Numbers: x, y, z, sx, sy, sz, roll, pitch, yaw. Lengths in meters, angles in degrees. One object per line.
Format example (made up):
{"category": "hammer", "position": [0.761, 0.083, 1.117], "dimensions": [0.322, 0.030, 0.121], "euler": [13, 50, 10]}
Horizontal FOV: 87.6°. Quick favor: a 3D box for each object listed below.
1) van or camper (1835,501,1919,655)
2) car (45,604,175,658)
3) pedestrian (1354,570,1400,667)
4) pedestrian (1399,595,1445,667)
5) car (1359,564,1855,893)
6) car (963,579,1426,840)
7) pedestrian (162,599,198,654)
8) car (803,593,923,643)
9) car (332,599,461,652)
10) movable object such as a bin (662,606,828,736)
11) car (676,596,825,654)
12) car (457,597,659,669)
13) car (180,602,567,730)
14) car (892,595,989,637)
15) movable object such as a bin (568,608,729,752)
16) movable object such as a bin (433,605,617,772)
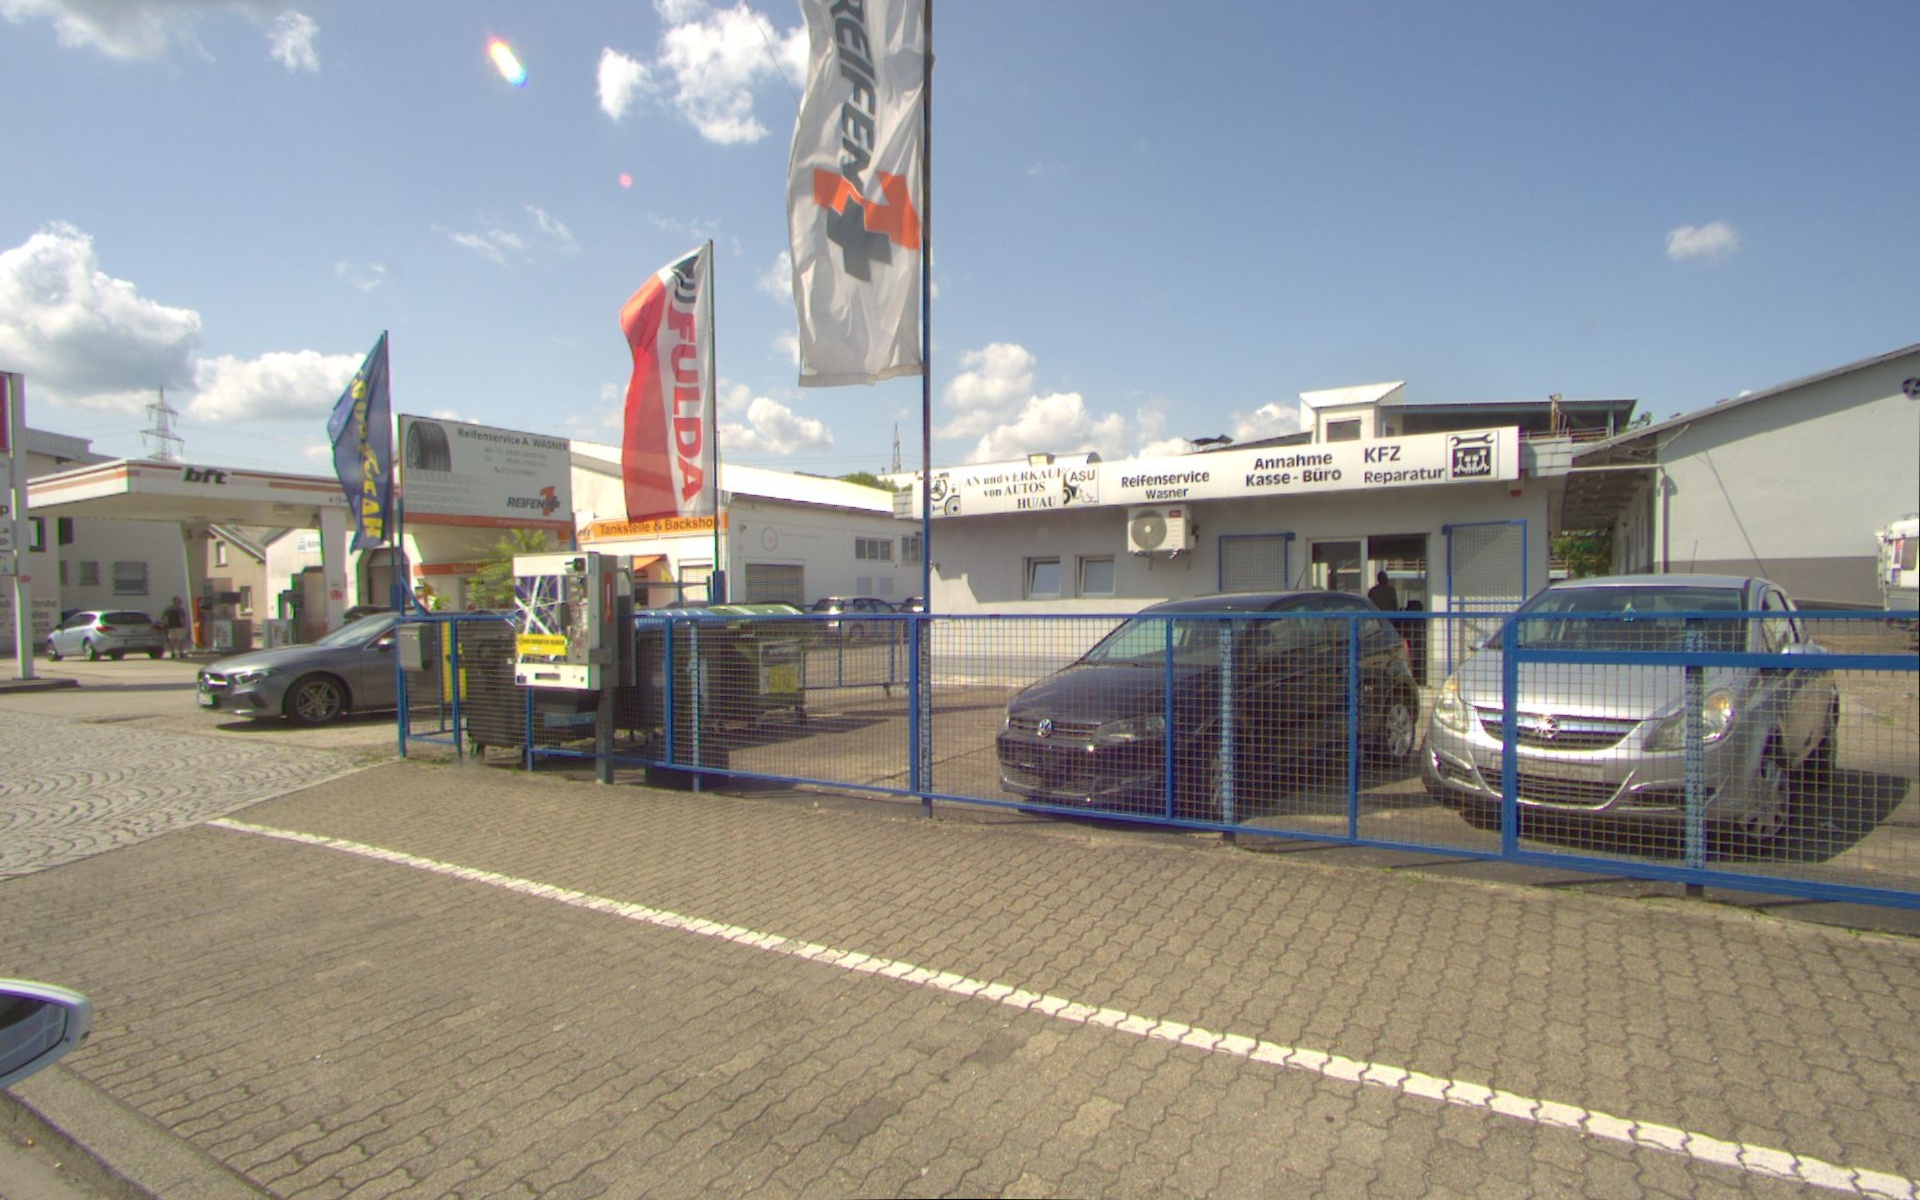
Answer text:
{"category": "van or camper", "position": [21.014, -0.451, 19.536], "dimensions": [5.571, 3.005, 2.264], "euler": [0, 1, 31]}
{"category": "car", "position": [-25.738, 0.898, 30.311], "dimensions": [3.776, 1.523, 1.803], "euler": [0, 0, 30]}
{"category": "pedestrian", "position": [7.351, 0.321, 17.653], "dimensions": [0.654, 1.671, 0.563], "euler": [0, 1, 34]}
{"category": "pedestrian", "position": [8.046, 0.535, 17.446], "dimensions": [0.654, 1.225, 0.563], "euler": [0, 1, 34]}
{"category": "car", "position": [4.272, 0.565, 6.387], "dimensions": [3.729, 1.472, 1.757], "euler": [-1, 0, -42]}
{"category": "car", "position": [1.904, 0.605, 7.483], "dimensions": [3.655, 1.472, 1.625], "euler": [-1, 1, -43]}
{"category": "pedestrian", "position": [-23.778, 0.798, 30.521], "dimensions": [0.698, 1.679, 0.546], "euler": [-1, 1, -22]}
{"category": "car", "position": [-3.017, 0.526, 32.057], "dimensions": [1.564, 1.482, 4.187], "euler": [0, 0, 33]}
{"category": "car", "position": [-17.311, 0.746, 30.729], "dimensions": [3.777, 1.523, 1.803], "euler": [0, 0, 31]}
{"category": "movable object such as a bin", "position": [-2.534, 0.785, 11.909], "dimensions": [1.318, 1.415, 1.400], "euler": [0, 1, 31]}
{"category": "car", "position": [-5.719, 0.641, 27.825], "dimensions": [1.564, 1.482, 4.187], "euler": [0, 0, 33]}
{"category": "car", "position": [-9.166, 0.688, 23.169], "dimensions": [1.564, 1.482, 4.187], "euler": [0, 0, 33]}
{"category": "car", "position": [-7.764, 0.763, 13.676], "dimensions": [1.652, 1.434, 4.259], "euler": [0, 0, 36]}
{"category": "car", "position": [-0.641, 0.532, 35.742], "dimensions": [1.564, 1.385, 3.860], "euler": [0, 0, 33]}
{"category": "movable object such as a bin", "position": [-3.327, 0.805, 10.744], "dimensions": [1.225, 1.415, 1.106], "euler": [0, 1, 31]}
{"category": "movable object such as a bin", "position": [-4.160, 0.789, 9.614], "dimensions": [1.225, 1.455, 1.106], "euler": [0, 1, 31]}
